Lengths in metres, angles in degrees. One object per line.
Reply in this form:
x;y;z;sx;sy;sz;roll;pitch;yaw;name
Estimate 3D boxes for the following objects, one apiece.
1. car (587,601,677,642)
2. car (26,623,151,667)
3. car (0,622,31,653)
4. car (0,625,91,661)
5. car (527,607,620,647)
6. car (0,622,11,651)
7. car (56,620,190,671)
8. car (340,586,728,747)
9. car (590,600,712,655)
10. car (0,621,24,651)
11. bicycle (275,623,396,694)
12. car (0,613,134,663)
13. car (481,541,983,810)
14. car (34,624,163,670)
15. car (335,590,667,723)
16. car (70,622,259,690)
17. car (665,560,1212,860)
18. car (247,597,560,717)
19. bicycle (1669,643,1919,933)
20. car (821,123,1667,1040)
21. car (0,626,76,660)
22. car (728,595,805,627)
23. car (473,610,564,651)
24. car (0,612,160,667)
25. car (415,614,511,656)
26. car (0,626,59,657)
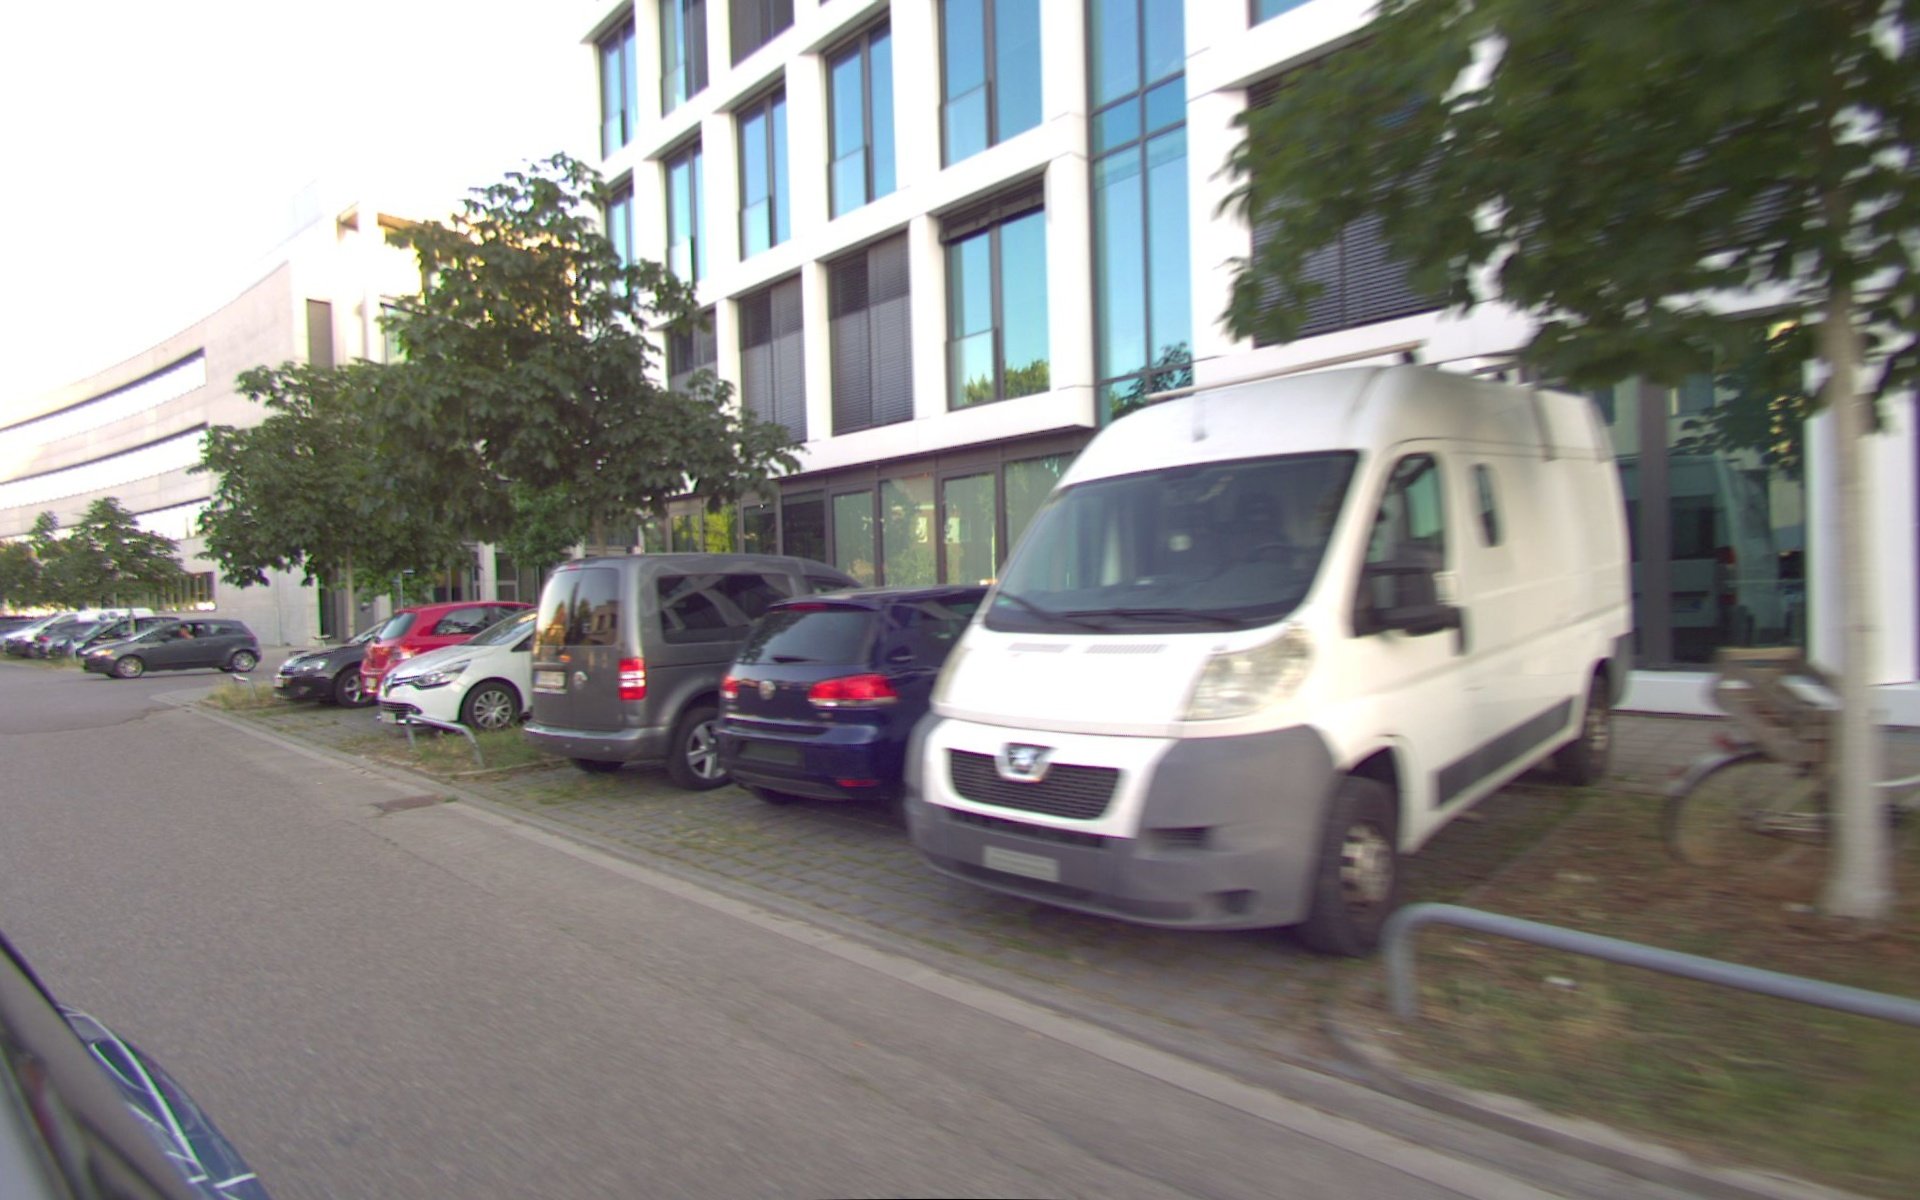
-14.352;0.917;44.172;4.130;1.640;1.629;0;2;37;car
-35.632;1.820;41.426;1.725;1.435;3.608;-2;2;41;car
-52.303;2.106;53.740;1.793;1.595;3.986;-2;2;31;car
-43.397;2.019;47.407;1.796;1.370;3.767;-2;2;37;car
-15.865;1.066;41.481;4.130;1.503;1.629;0;2;37;car
-56.304;2.204;56.839;1.793;1.595;3.986;-2;2;31;car
-31.466;1.671;38.099;1.725;1.559;3.607;-2;2;42;car
-5.172;0.702;12.693;1.780;1.530;4.064;-2;1;43;car
-9.506;0.865;31.023;3.719;1.507;1.709;-2;1;39;car
-54.418;2.110;55.628;1.793;1.595;3.986;-2;2;31;car
-10.877;1.001;17.668;0.566;1.073;1.677;-2;1;44;bicycle
-41.434;1.726;46.516;1.886;1.840;5.023;-2;2;37;car
-1.796;0.449;9.063;1.814;1.830;4.068;-2;1;39;car
-33.739;1.805;39.676;1.725;1.435;3.607;-2;2;42;car
-6.697;0.738;15.091;1.845;1.530;4.064;-2;1;43;car
-21.260;1.440;27.158;1.648;1.506;3.688;-2;1;39;car
0.117;0.544;7.469;1.773;1.510;4.068;-2;1;39;car
-8.953;0.829;16.542;1.844;1.530;4.065;-2;1;42;car
3.891;0.642;3.787;1.888;0.922;0.673;-4;0;5;bicycle
2.054;-0.152;5.562;2.079;2.652;5.321;-2;1;45;car
-45.621;2.112;49.107;1.796;1.370;3.767;-2;2;37;car
-9.764;0.533;50.990;3.851;1.517;1.629;0;2;37;car
-17.433;1.177;39.916;3.897;1.439;1.542;0;2;37;car
-37.619;1.633;43.242;1.886;1.894;5.023;-2;2;37;car
-18.491;1.260;37.599;3.812;1.396;1.629;0;2;37;car
-47.686;2.123;50.460;1.796;1.370;3.767;-2;2;37;car
